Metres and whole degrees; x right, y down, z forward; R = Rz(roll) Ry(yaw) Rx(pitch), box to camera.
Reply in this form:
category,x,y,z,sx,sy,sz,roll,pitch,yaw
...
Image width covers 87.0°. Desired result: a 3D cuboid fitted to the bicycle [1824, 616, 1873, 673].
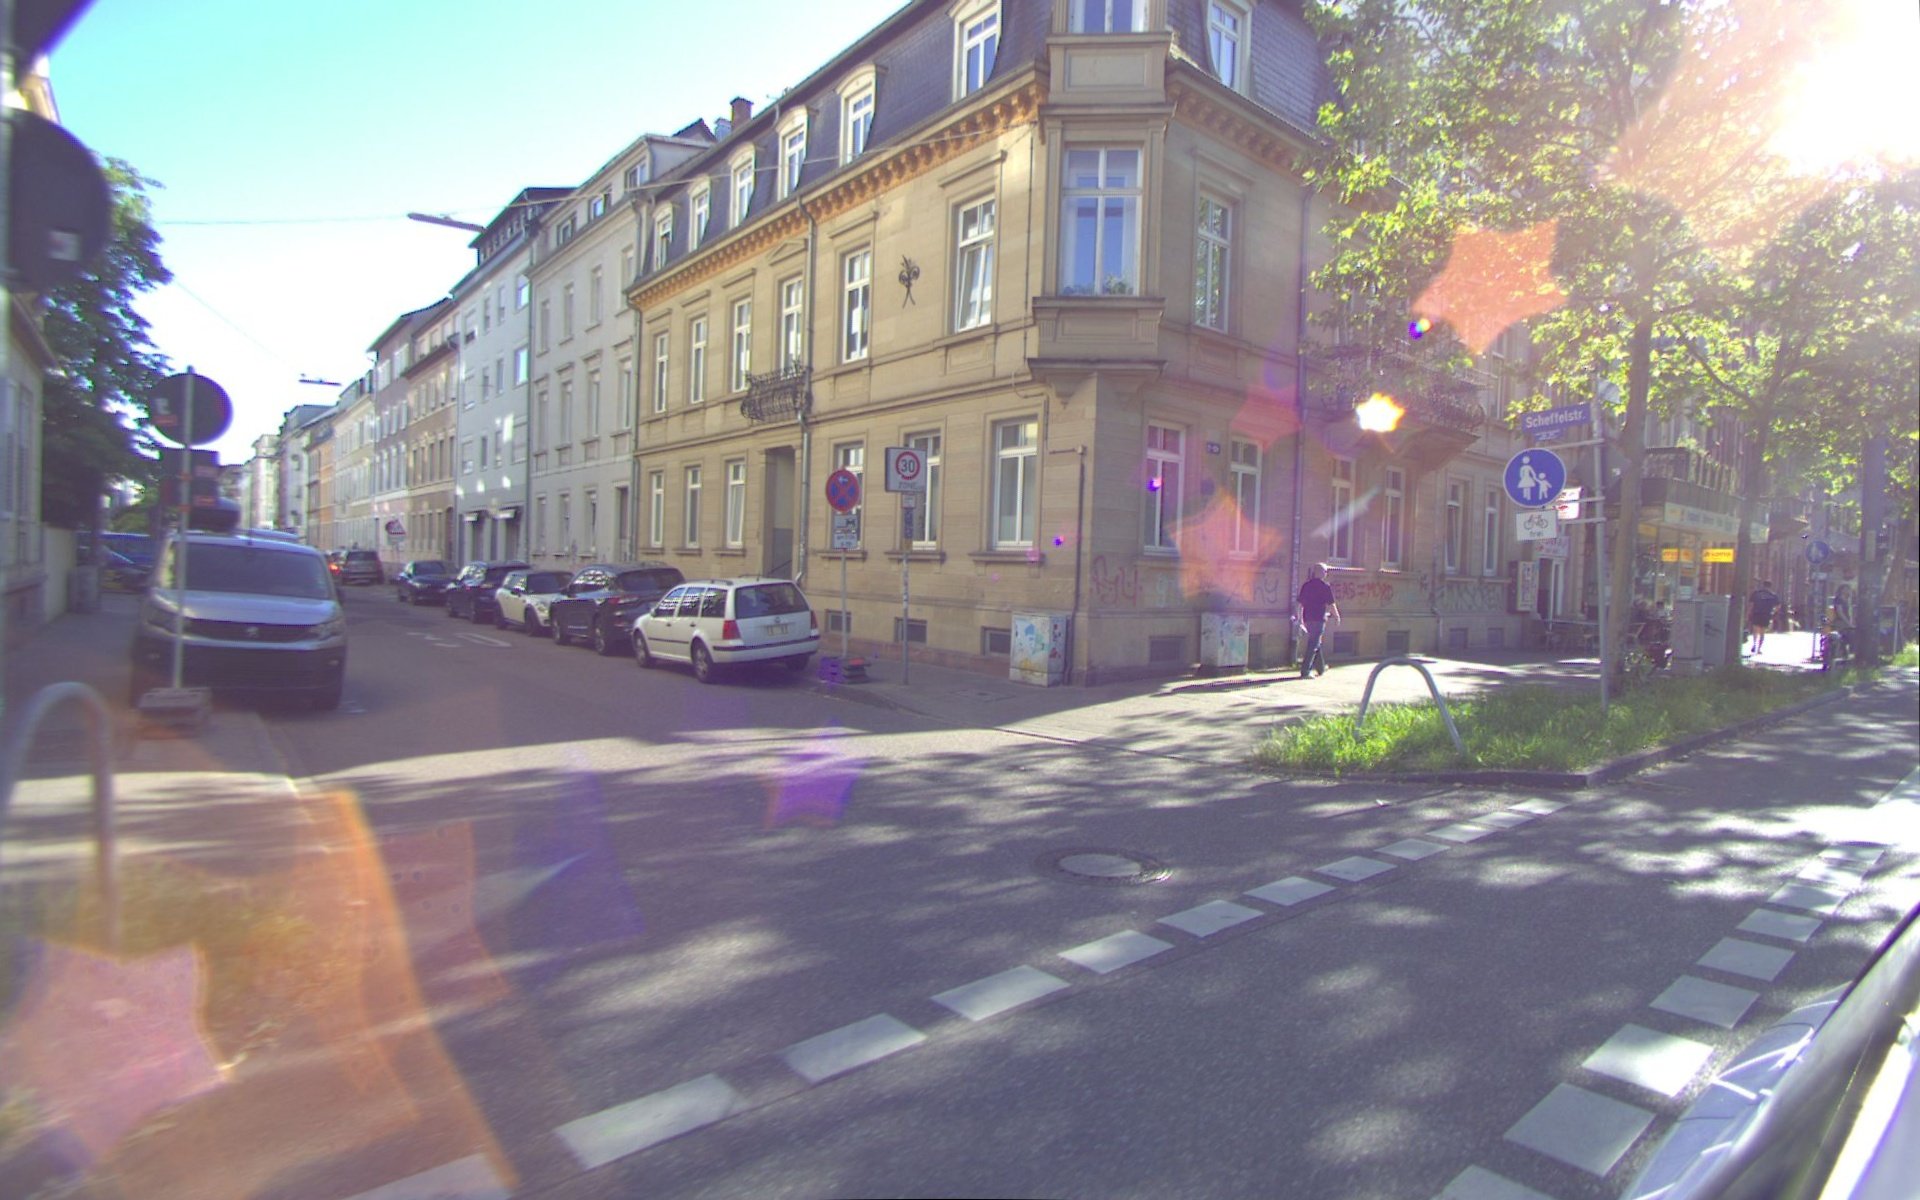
category,x,y,z,sx,sy,sz,roll,pitch,yaw
bicycle,16.155,0.801,18.390,1.719,0.982,0.428,1,-1,-41

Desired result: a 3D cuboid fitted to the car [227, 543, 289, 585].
category,x,y,z,sx,sy,sz,roll,pitch,yaw
car,-29.145,-1.460,41.965,1.835,1.610,3.638,1,0,-39

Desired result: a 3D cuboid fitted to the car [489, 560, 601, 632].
category,x,y,z,sx,sy,sz,roll,pitch,yaw
car,-9.825,-0.118,23.847,1.591,1.580,3.246,1,0,-38

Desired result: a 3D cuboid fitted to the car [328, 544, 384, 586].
category,x,y,z,sx,sy,sz,roll,pitch,yaw
car,-28.582,-1.622,47.845,1.800,1.839,3.791,1,0,-37

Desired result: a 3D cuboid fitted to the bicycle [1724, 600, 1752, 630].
category,x,y,z,sx,sy,sz,roll,pitch,yaw
bicycle,26.477,0.506,34.426,1.659,1.006,0.443,1,-1,-42

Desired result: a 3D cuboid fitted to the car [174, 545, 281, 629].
category,x,y,z,sx,sy,sz,roll,pitch,yaw
car,-14.545,-0.267,20.093,1.571,1.526,3.316,1,1,-37

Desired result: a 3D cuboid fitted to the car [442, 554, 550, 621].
category,x,y,z,sx,sy,sz,roll,pitch,yaw
car,-12.583,-0.372,27.342,1.757,1.634,3.875,1,2,-38

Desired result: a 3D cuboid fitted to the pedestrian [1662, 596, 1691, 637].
category,x,y,z,sx,sy,sz,roll,pitch,yaw
pedestrian,20.893,0.487,29.517,0.644,1.176,0.602,1,-1,39

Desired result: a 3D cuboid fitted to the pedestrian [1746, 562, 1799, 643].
category,x,y,z,sx,sy,sz,roll,pitch,yaw
pedestrian,21.083,0.070,26.253,0.840,2.039,0.884,2,-1,-37

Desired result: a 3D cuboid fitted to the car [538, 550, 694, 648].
category,x,y,z,sx,sy,sz,roll,pitch,yaw
car,-6.802,-0.020,19.757,1.636,1.699,3.997,1,0,-38

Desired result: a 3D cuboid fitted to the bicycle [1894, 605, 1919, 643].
category,x,y,z,sx,sy,sz,roll,pitch,yaw
bicycle,26.430,0.662,28.146,0.441,1.006,1.667,1,-1,35

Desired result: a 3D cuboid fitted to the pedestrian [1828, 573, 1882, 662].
category,x,y,z,sx,sy,sz,roll,pitch,yaw
pedestrian,18.553,0.364,20.972,0.852,1.794,0.644,2,-1,-34

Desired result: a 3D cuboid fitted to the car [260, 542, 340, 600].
category,x,y,z,sx,sy,sz,roll,pitch,yaw
car,-21.715,-0.911,33.238,1.879,1.768,3.998,1,0,-37

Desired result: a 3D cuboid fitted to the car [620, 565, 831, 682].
category,x,y,z,sx,sy,sz,roll,pitch,yaw
car,-3.798,0.276,15.892,1.618,1.523,4.070,1,2,-38

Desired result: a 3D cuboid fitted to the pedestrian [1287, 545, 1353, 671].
category,x,y,z,sx,sy,sz,roll,pitch,yaw
pedestrian,5.476,0.116,15.392,0.943,1.850,0.564,2,-1,-44

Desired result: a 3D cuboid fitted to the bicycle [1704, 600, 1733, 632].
category,x,y,z,sx,sy,sz,roll,pitch,yaw
bicycle,24.493,0.505,32.670,1.659,1.006,0.443,1,-1,-42

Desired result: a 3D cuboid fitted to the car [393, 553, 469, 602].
category,x,y,z,sx,sy,sz,roll,pitch,yaw
car,-18.071,-0.734,34.527,1.621,1.566,3.741,1,0,-38

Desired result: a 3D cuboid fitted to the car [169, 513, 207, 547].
category,x,y,z,sx,sy,sz,roll,pitch,yaw
car,-50.810,-4.575,66.586,1.919,2.038,3.997,1,2,-39

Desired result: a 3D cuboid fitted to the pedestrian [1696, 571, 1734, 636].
category,x,y,z,sx,sy,sz,roll,pitch,yaw
pedestrian,21.678,0.105,29.055,0.758,1.833,0.470,1,-1,-9

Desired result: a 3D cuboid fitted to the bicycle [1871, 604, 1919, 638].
category,x,y,z,sx,sy,sz,roll,pitch,yaw
bicycle,29.036,0.642,30.743,0.436,1.006,2.006,2,-1,-42

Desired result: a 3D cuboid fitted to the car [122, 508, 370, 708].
category,x,y,z,sx,sy,sz,roll,pitch,yaw
car,-8.096,0.014,11.479,1.885,1.795,4.596,1,1,-37

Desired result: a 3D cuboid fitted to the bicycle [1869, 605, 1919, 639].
category,x,y,z,sx,sy,sz,roll,pitch,yaw
bicycle,28.685,0.655,30.413,0.436,1.006,2.017,2,-1,-42

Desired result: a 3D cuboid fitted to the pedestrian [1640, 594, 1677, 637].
category,x,y,z,sx,sy,sz,roll,pitch,yaw
pedestrian,19.582,0.441,28.375,0.643,1.176,0.671,1,-1,14

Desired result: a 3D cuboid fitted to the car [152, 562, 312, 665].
category,x,y,z,sx,sy,sz,roll,pitch,yaw
car,-11.479,0.118,15.966,1.811,1.364,4.383,0,2,-37
